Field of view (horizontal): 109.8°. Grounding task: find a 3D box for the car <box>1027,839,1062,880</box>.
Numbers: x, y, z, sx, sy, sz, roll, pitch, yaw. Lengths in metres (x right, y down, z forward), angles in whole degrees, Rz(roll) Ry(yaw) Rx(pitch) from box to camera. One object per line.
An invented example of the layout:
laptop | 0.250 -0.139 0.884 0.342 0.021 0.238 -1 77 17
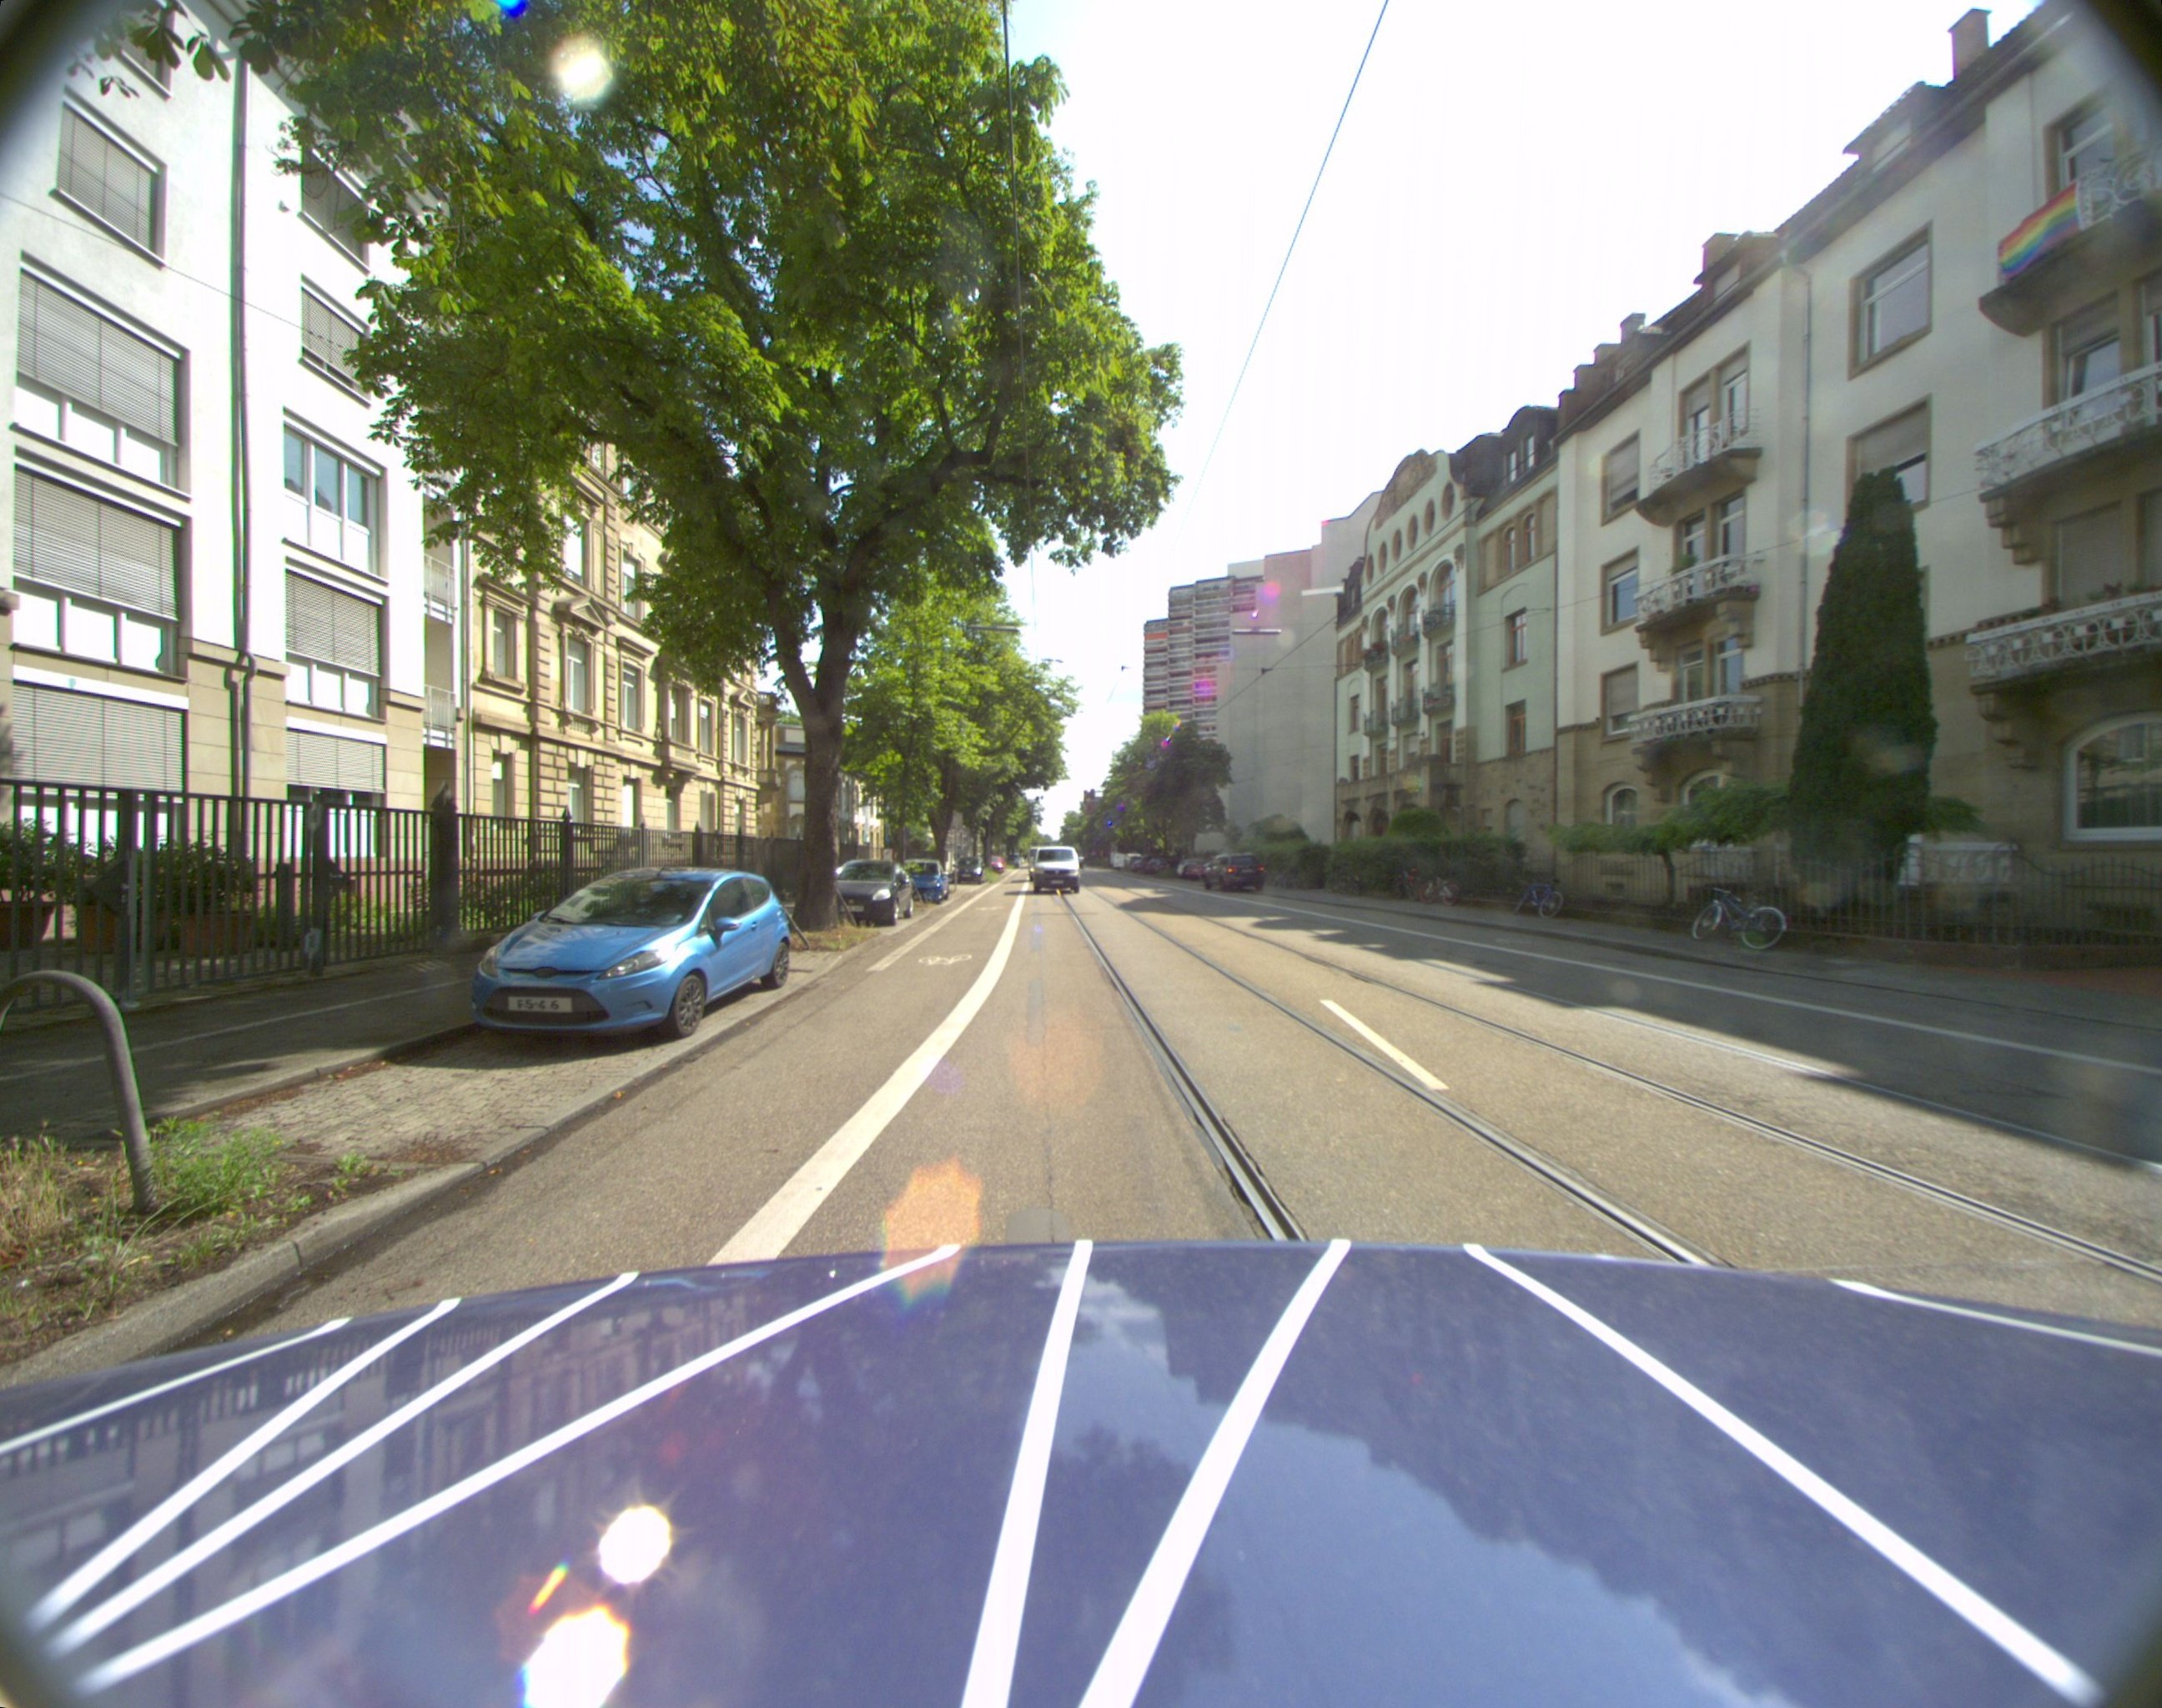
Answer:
car | -2.379 0.318 49.658 2.147 2.568 4.816 0 0 -2

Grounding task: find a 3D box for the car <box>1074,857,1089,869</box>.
car | 0.028 1.127 100.433 1.761 1.509 4.067 0 0 -4

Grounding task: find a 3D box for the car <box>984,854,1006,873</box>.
car | -7.690 0.834 67.905 1.744 1.564 3.928 3 0 -4

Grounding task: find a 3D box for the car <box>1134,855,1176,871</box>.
car | 7.176 0.885 73.887 3.994 1.499 2.001 0 0 7

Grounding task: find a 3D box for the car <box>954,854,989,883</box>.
car | -6.422 0.840 44.758 1.744 1.564 3.659 3 0 -4

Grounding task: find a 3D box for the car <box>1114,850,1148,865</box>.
car | 6.011 0.413 90.775 1.994 1.740 4.008 -1 1 41

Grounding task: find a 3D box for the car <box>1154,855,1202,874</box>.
car | 8.220 0.880 64.407 3.994 1.499 2.001 0 0 7

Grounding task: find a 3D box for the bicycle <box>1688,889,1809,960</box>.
bicycle | 11.048 1.127 12.668 0.467 0.990 1.979 0 0 6

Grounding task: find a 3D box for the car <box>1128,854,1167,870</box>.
car | 7.057 0.791 80.520 3.994 1.672 2.001 0 0 7

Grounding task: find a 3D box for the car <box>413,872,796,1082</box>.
car | -4.349 0.999 7.679 1.647 1.467 3.660 3 0 -3

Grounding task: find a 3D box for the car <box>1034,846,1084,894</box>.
car | -0.963 0.618 32.657 1.974 1.901 4.816 0 0 -2

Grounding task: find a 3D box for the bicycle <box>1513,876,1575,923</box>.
bicycle | 10.877 1.045 17.911 0.467 0.990 1.787 0 0 4

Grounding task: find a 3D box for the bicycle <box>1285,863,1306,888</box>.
bicycle | 10.005 0.983 35.487 0.468 1.128 1.786 0 0 -1

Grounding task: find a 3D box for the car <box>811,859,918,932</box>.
car | -4.990 0.896 17.974 1.679 1.467 3.659 3 0 -4

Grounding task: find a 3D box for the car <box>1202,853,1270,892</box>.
car | 7.103 0.804 35.334 1.922 1.685 4.399 0 0 -5

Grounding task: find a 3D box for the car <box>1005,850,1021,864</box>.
car | -8.244 0.345 92.378 1.744 1.564 3.928 3 0 -4

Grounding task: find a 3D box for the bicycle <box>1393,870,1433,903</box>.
bicycle | 10.596 1.016 24.292 0.468 0.990 1.786 0 0 -1

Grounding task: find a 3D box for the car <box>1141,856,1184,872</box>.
car | 7.596 0.918 70.679 3.994 1.499 2.001 0 0 7

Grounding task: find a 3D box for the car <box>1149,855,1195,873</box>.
car | 8.108 0.887 67.563 3.994 1.499 2.001 0 0 7

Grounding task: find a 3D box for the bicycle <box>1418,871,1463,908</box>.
bicycle | 10.566 1.025 22.394 0.468 0.990 1.786 0 0 -1

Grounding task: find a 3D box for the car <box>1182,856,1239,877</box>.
car | 9.270 0.881 54.816 3.994 1.499 2.001 0 0 7

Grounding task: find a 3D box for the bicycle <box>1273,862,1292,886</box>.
bicycle | 9.914 0.959 37.428 0.468 1.128 1.786 0 0 -1

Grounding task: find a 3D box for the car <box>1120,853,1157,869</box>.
car | 6.456 0.763 84.943 3.994 1.672 2.001 0 0 7

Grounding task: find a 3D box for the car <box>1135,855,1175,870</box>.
car | 7.490 0.880 77.049 3.994 1.499 2.001 0 0 7

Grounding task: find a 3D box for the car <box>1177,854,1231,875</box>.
car | 9.390 0.793 58.365 3.994 1.499 2.001 0 0 7

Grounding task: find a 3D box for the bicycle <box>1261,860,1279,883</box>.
bicycle | 9.804 0.911 39.525 0.468 1.128 1.786 0 0 -1

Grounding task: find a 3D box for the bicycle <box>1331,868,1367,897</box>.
bicycle | 9.989 1.041 28.377 0.605 0.990 1.980 0 0 -1

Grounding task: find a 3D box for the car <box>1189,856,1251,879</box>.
car | 9.320 0.877 51.308 3.994 1.499 2.001 0 0 7

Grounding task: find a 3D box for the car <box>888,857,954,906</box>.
car | -5.436 0.901 26.186 1.679 1.467 3.659 3 0 -4
